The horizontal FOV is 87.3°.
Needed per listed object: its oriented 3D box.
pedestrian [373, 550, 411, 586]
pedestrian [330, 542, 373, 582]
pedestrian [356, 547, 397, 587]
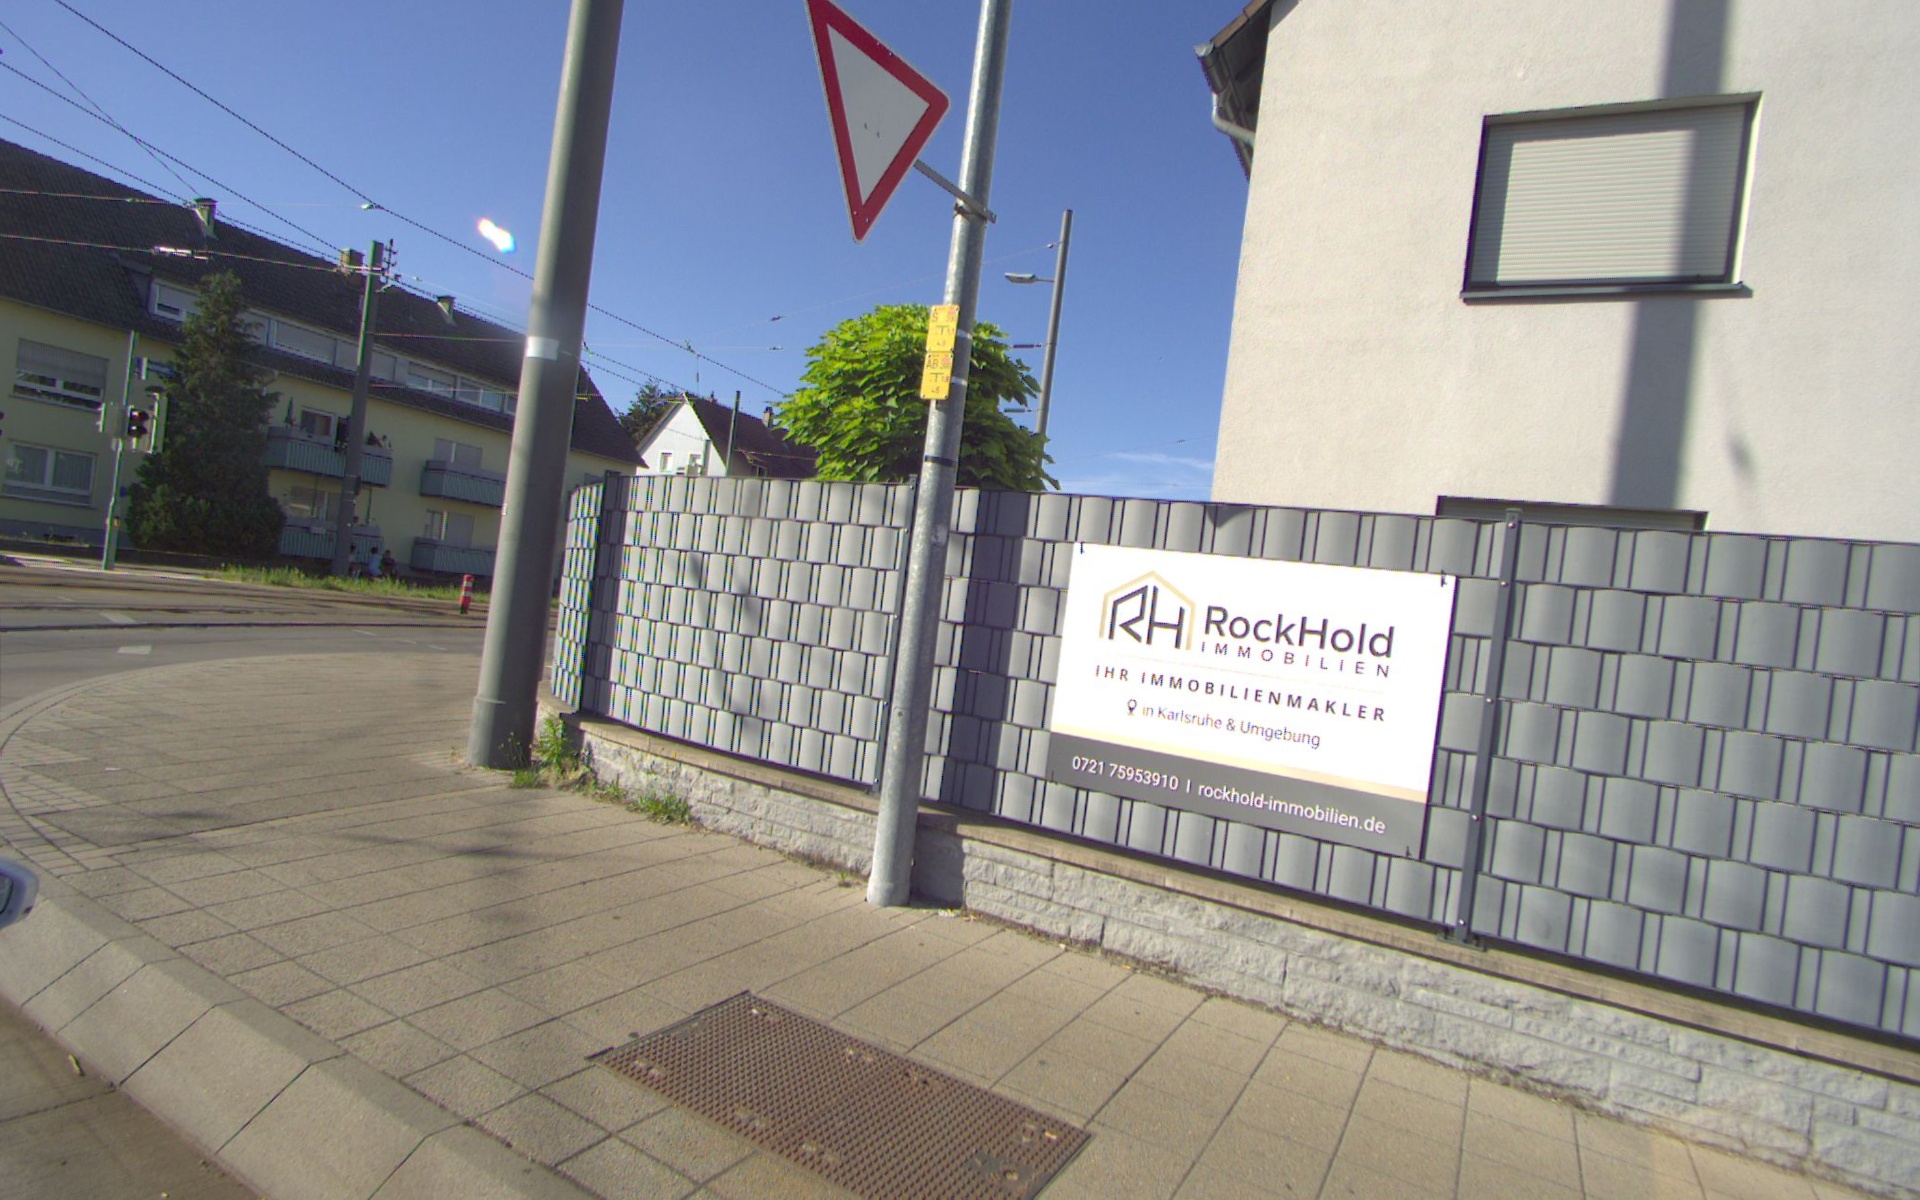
[{"bbox_3d":[-18.095,-1.020,32.057,0.711,1.017,0.595,8,-1,3],"label":"pedestrian"},{"bbox_3d":[-18.523,-1.144,30.615,0.805,1.059,0.688,7,-1,24],"label":"pedestrian"},{"bbox_3d":[-18.216,-1.025,31.418,0.806,1.077,0.626,8,-1,-6],"label":"pedestrian"}]
